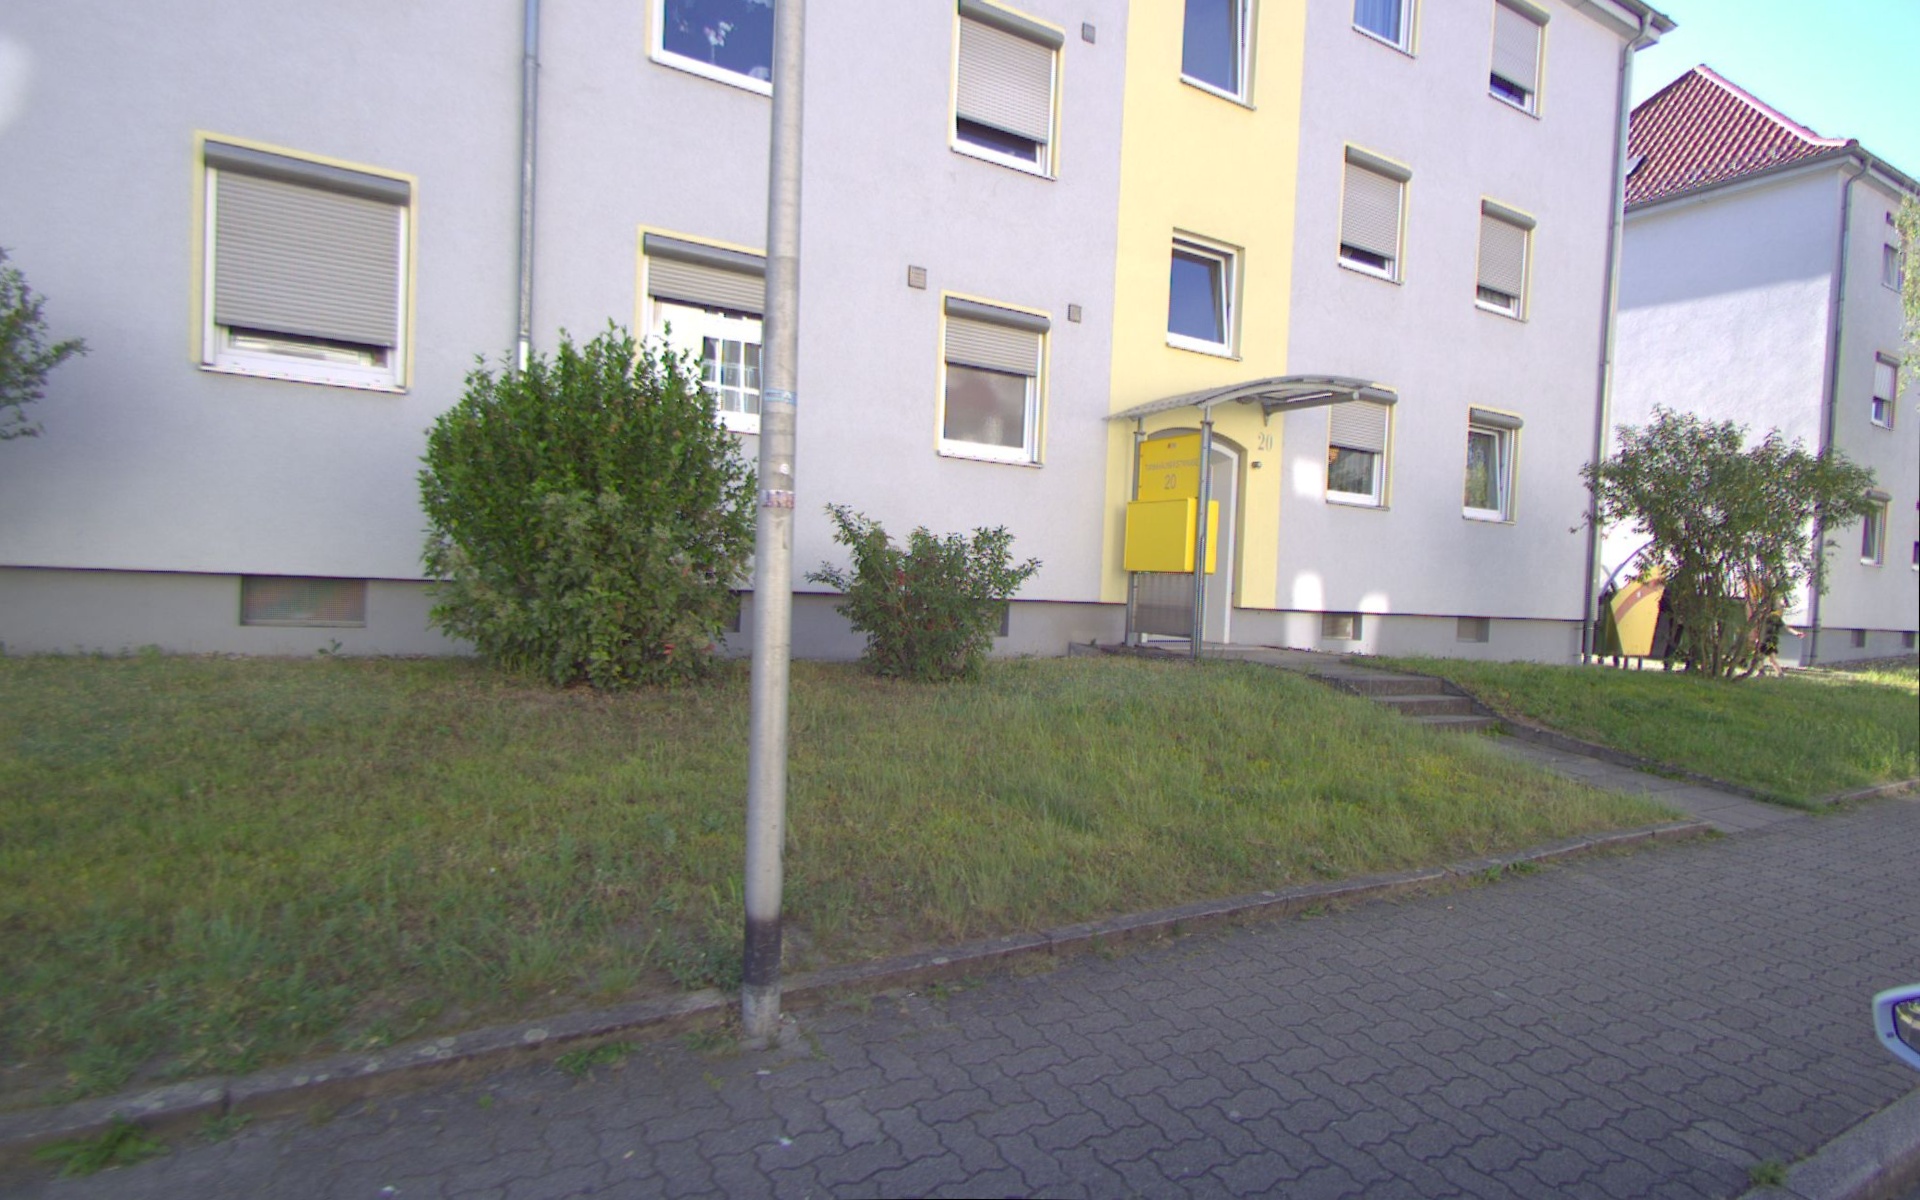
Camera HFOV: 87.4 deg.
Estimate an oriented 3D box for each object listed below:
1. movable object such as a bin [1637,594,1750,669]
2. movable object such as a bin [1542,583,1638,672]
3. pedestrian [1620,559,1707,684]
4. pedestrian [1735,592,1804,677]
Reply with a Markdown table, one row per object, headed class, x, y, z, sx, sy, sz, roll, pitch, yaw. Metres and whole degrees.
| class | x | y | z | sx | sy | sz | roll | pitch | yaw |
| --- | --- | --- | --- | --- | --- | --- | --- | --- | --- |
| movable object such as a bin | 14.649 | 0.620 | 20.087 | 1.214 | 1.354 | 1.380 | 1 | 3 | -30 |
| movable object such as a bin | 10.773 | 0.450 | 17.196 | 0.803 | 1.425 | 1.079 | 1 | 2 | -29 |
| pedestrian | 10.753 | 0.322 | 15.368 | 0.709 | 1.848 | 0.802 | 1 | 1 | -29 |
| pedestrian | 13.150 | 0.549 | 16.321 | 0.569 | 1.335 | 0.683 | 1 | 1 | -29 |
